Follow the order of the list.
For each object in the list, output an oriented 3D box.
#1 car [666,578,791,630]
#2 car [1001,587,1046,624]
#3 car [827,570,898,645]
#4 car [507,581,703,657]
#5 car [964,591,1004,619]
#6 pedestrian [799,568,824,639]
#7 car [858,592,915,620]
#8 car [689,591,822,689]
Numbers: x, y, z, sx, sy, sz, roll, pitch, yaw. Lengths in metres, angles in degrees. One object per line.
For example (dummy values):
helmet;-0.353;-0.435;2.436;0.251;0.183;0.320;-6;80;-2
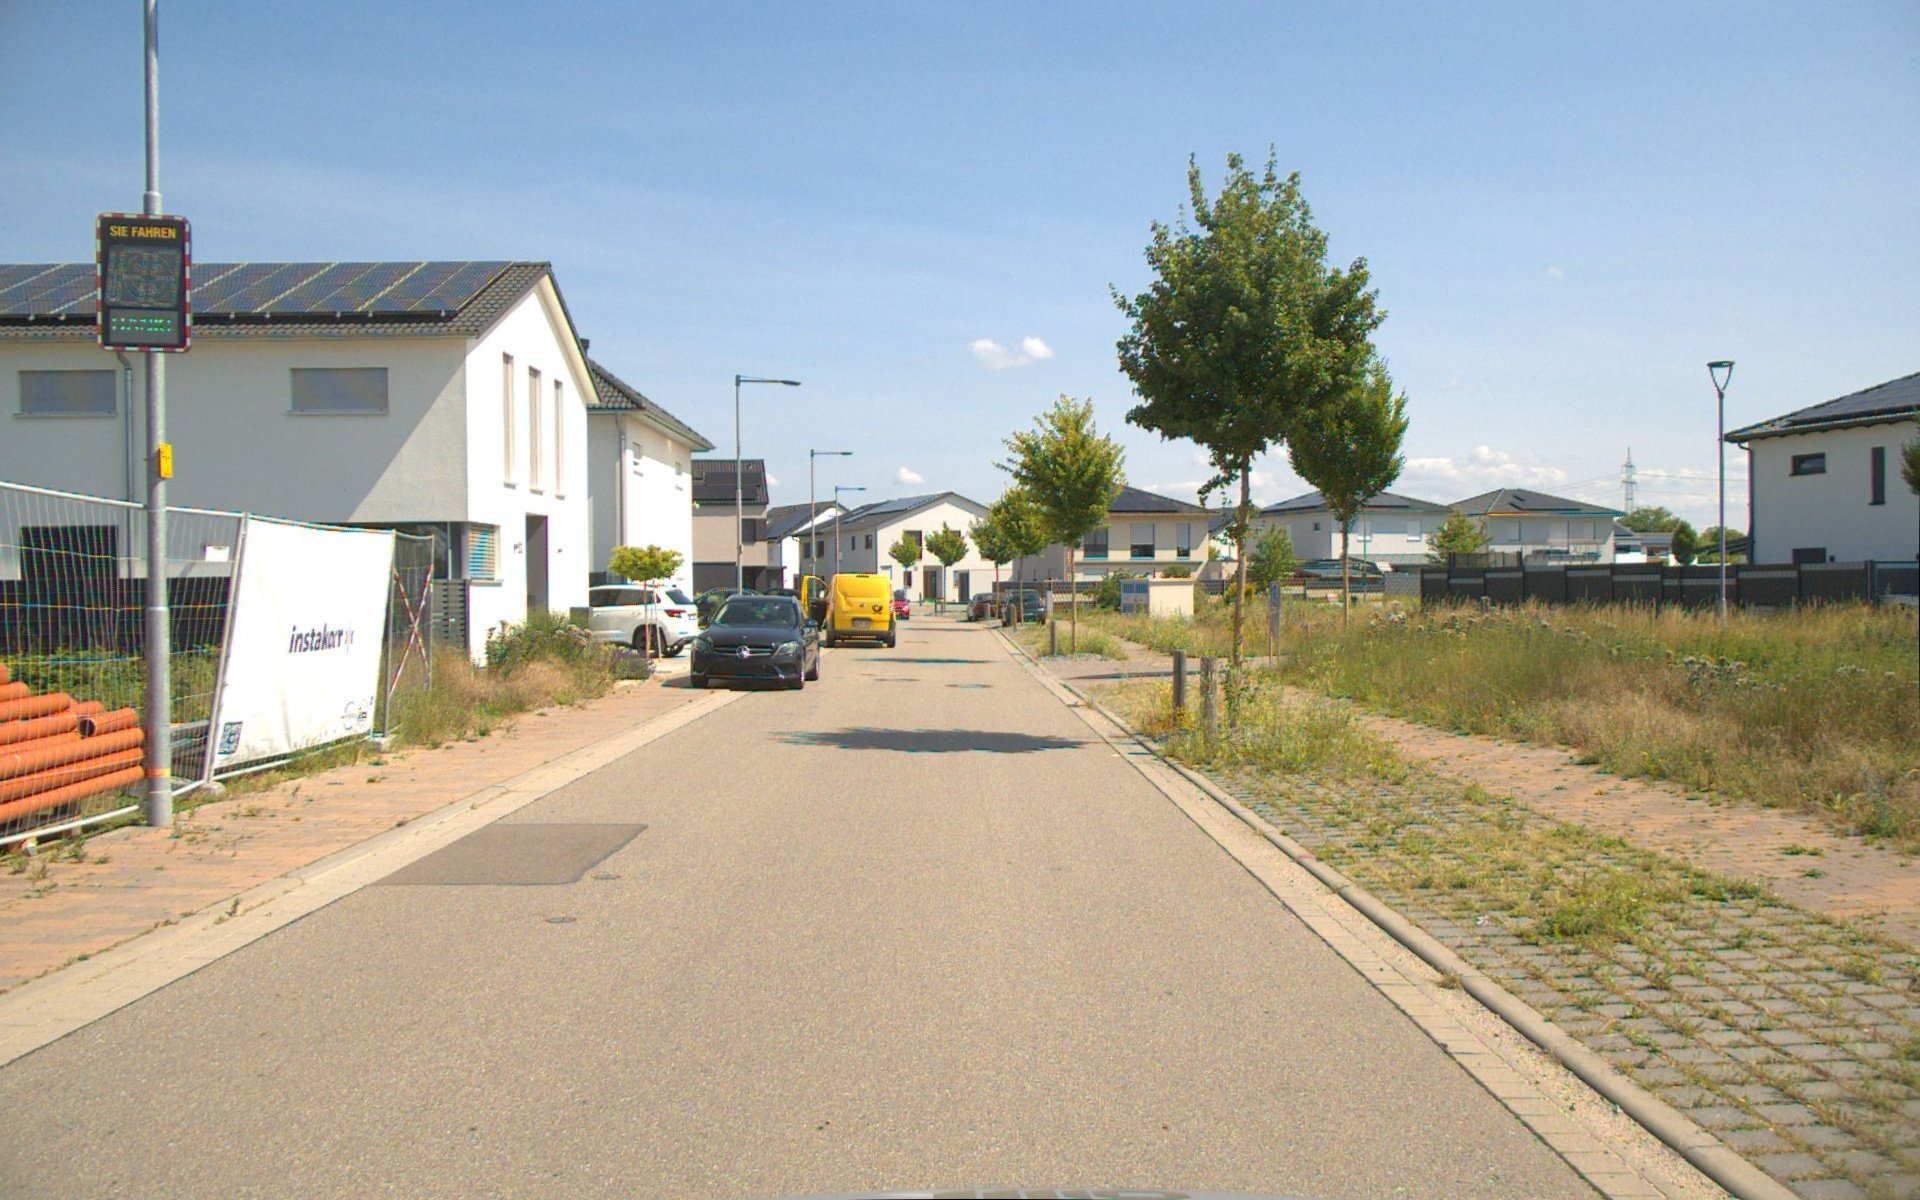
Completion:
car;-8.126;0.145;57.992;4.094;1.531;1.807;4;-1;-17
car;2.561;0.237;67.456;1.606;1.427;3.809;-1;-1;-2
car;-2.821;0.220;47.322;1.903;2.016;4.213;-1;-1;-4
car;-8.041;0.408;37.618;3.982;1.609;1.785;1;1;5
car;1.232;0.268;86.054;1.597;1.346;3.827;0;-2;-7
pedestrian;-4.331;0.107;48.377;0.638;2.049;1.123;-1;-1;-1
car;-4.030;0.321;90.110;1.962;1.456;4.677;0;-1;-18
car;-3.295;0.598;27.324;1.710;1.429;4.159;2;0;-1
